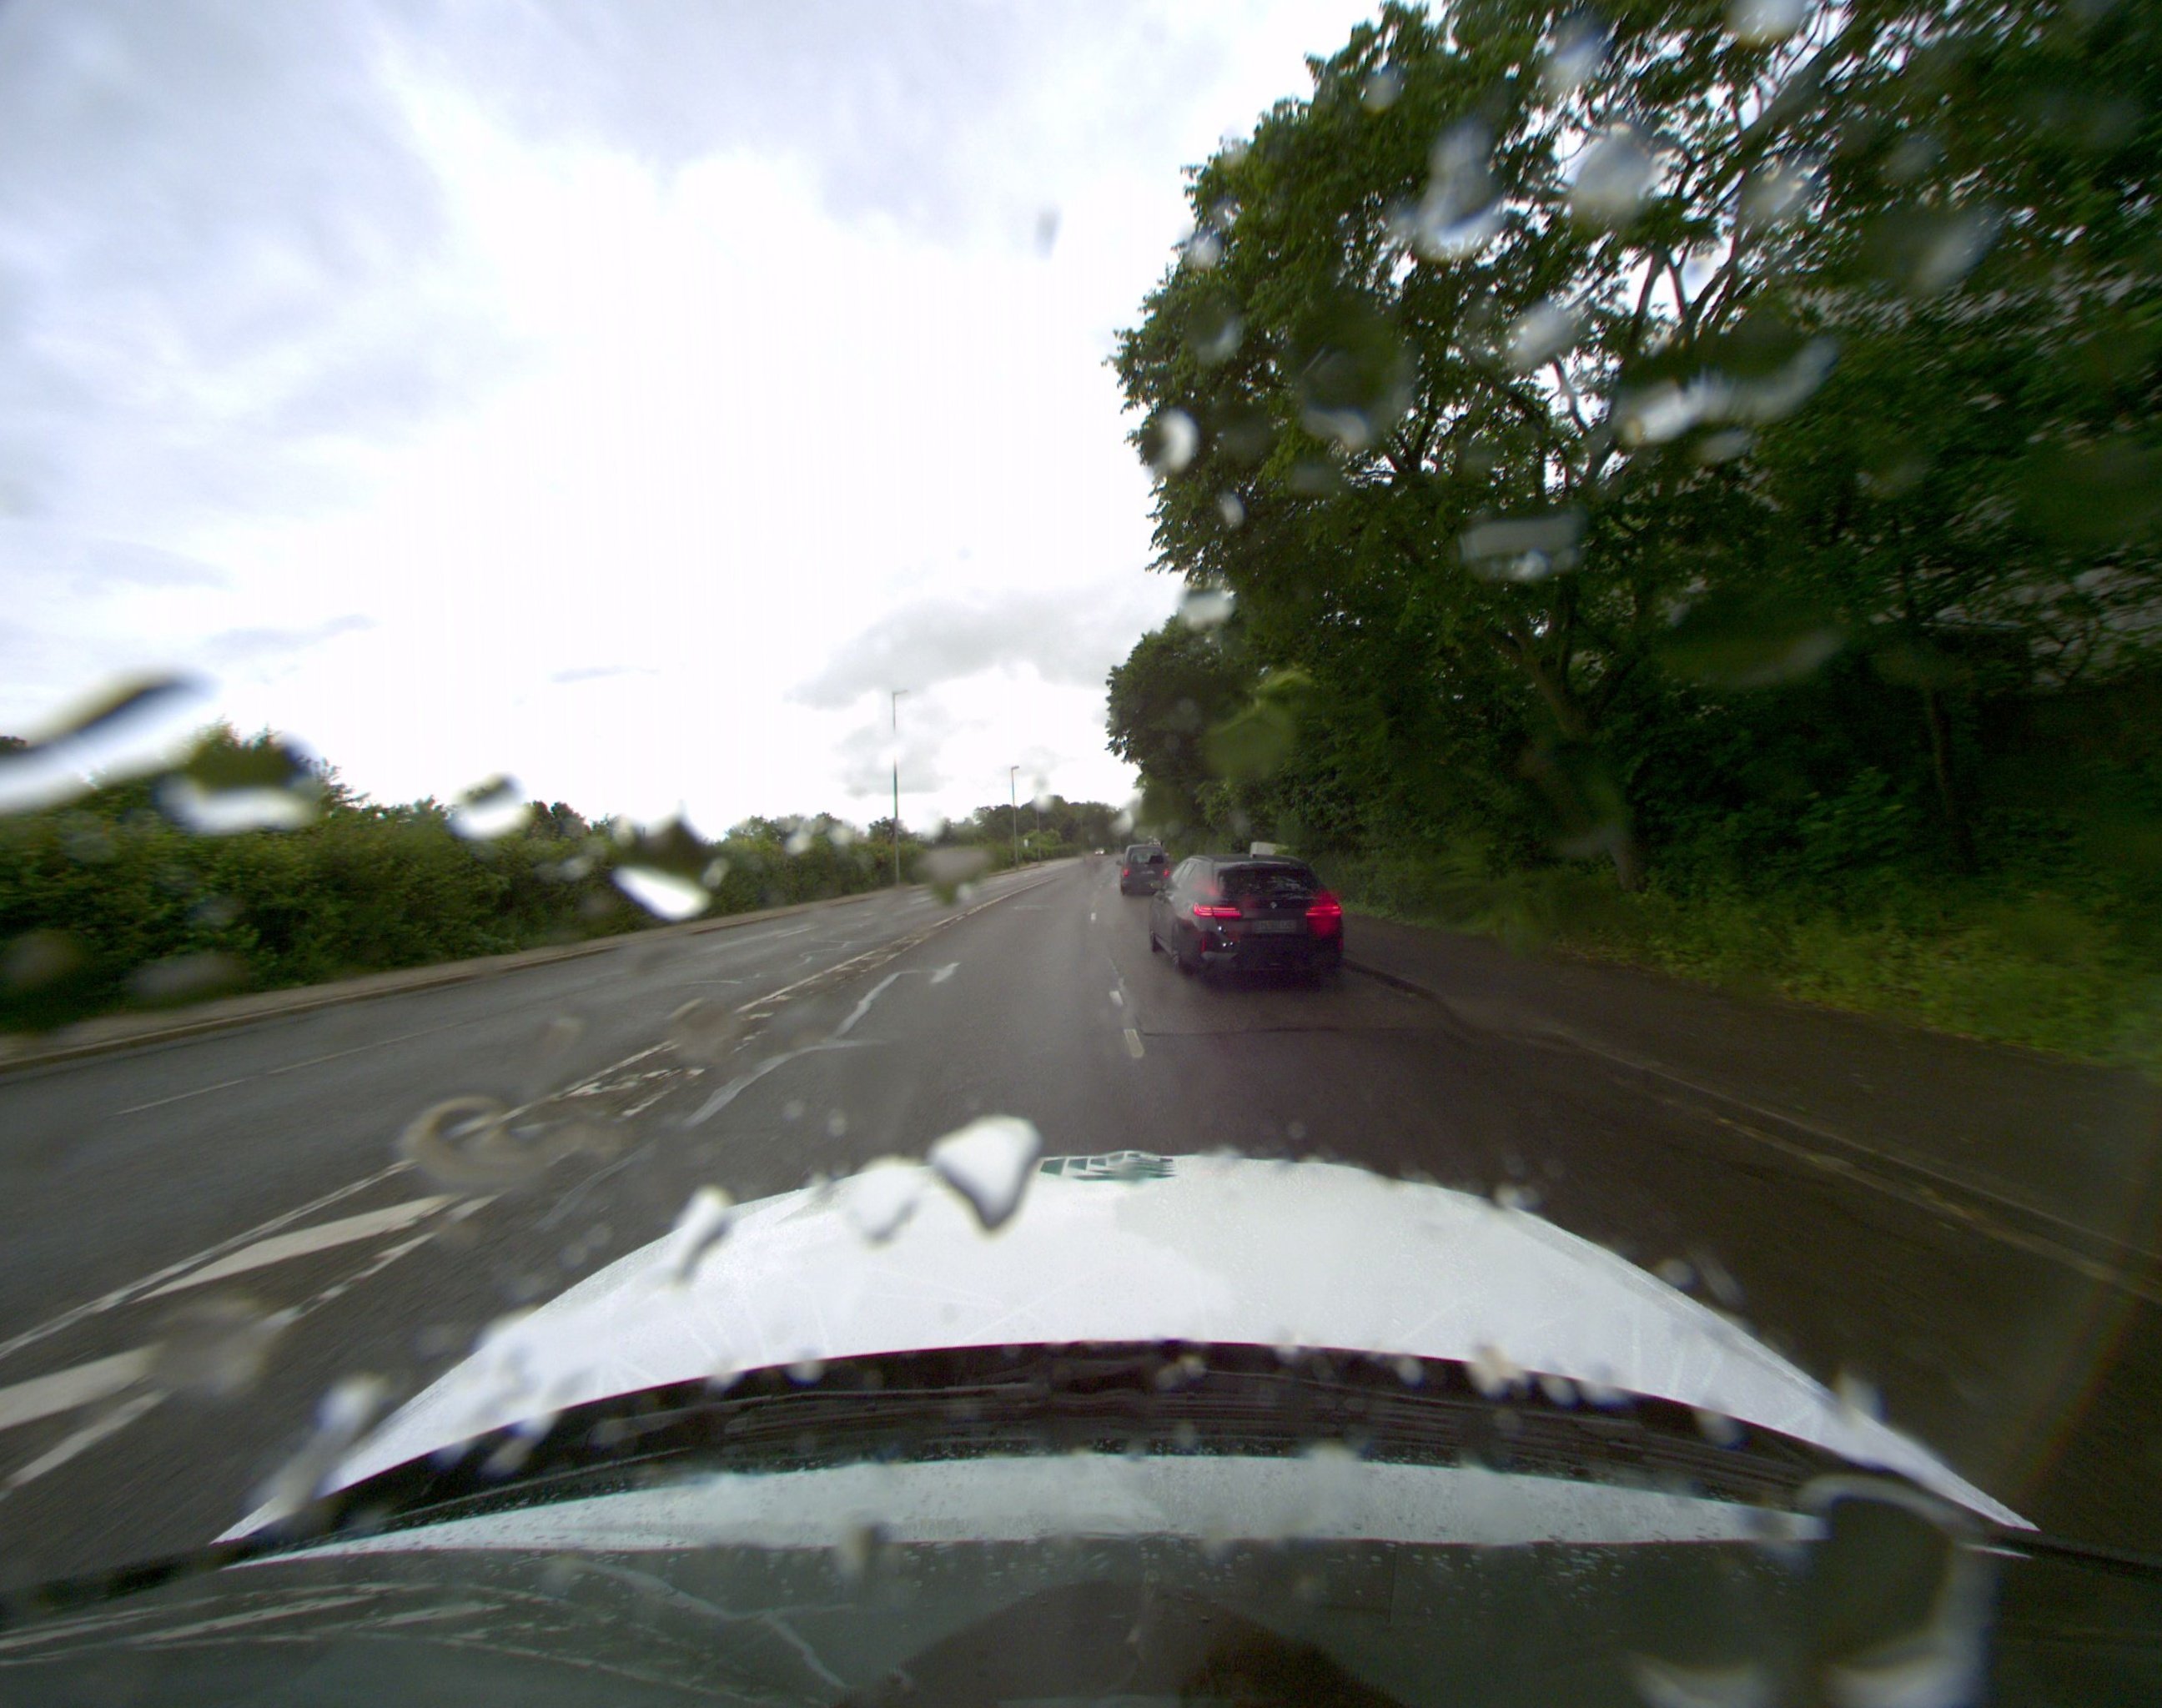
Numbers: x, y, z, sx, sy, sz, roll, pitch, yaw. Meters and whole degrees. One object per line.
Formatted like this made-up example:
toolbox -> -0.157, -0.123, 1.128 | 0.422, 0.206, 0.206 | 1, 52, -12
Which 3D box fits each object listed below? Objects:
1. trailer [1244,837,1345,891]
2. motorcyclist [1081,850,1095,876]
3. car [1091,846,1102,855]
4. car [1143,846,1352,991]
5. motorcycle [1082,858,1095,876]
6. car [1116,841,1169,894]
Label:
trailer -> 7.928, 0.350, 30.400 | 3.336, 1.647, 1.199 | 6, 1, 1
motorcyclist -> 0.493, 0.592, 53.708 | 0.841, 1.647, 0.468 | -2, 1, 4
car -> 3.140, -0.715, 165.694 | 1.747, 1.662, 3.845 | -1, 1, -7
car -> 1.932, 0.687, 10.563 | 1.761, 1.536, 3.667 | 0, 0, -4
motorcycle -> 0.496, 0.875, 53.735 | 0.738, 1.119, 1.429 | -1, 1, 5
car -> 2.265, 0.449, 30.808 | 1.760, 1.810, 3.906 | -2, 1, 1
